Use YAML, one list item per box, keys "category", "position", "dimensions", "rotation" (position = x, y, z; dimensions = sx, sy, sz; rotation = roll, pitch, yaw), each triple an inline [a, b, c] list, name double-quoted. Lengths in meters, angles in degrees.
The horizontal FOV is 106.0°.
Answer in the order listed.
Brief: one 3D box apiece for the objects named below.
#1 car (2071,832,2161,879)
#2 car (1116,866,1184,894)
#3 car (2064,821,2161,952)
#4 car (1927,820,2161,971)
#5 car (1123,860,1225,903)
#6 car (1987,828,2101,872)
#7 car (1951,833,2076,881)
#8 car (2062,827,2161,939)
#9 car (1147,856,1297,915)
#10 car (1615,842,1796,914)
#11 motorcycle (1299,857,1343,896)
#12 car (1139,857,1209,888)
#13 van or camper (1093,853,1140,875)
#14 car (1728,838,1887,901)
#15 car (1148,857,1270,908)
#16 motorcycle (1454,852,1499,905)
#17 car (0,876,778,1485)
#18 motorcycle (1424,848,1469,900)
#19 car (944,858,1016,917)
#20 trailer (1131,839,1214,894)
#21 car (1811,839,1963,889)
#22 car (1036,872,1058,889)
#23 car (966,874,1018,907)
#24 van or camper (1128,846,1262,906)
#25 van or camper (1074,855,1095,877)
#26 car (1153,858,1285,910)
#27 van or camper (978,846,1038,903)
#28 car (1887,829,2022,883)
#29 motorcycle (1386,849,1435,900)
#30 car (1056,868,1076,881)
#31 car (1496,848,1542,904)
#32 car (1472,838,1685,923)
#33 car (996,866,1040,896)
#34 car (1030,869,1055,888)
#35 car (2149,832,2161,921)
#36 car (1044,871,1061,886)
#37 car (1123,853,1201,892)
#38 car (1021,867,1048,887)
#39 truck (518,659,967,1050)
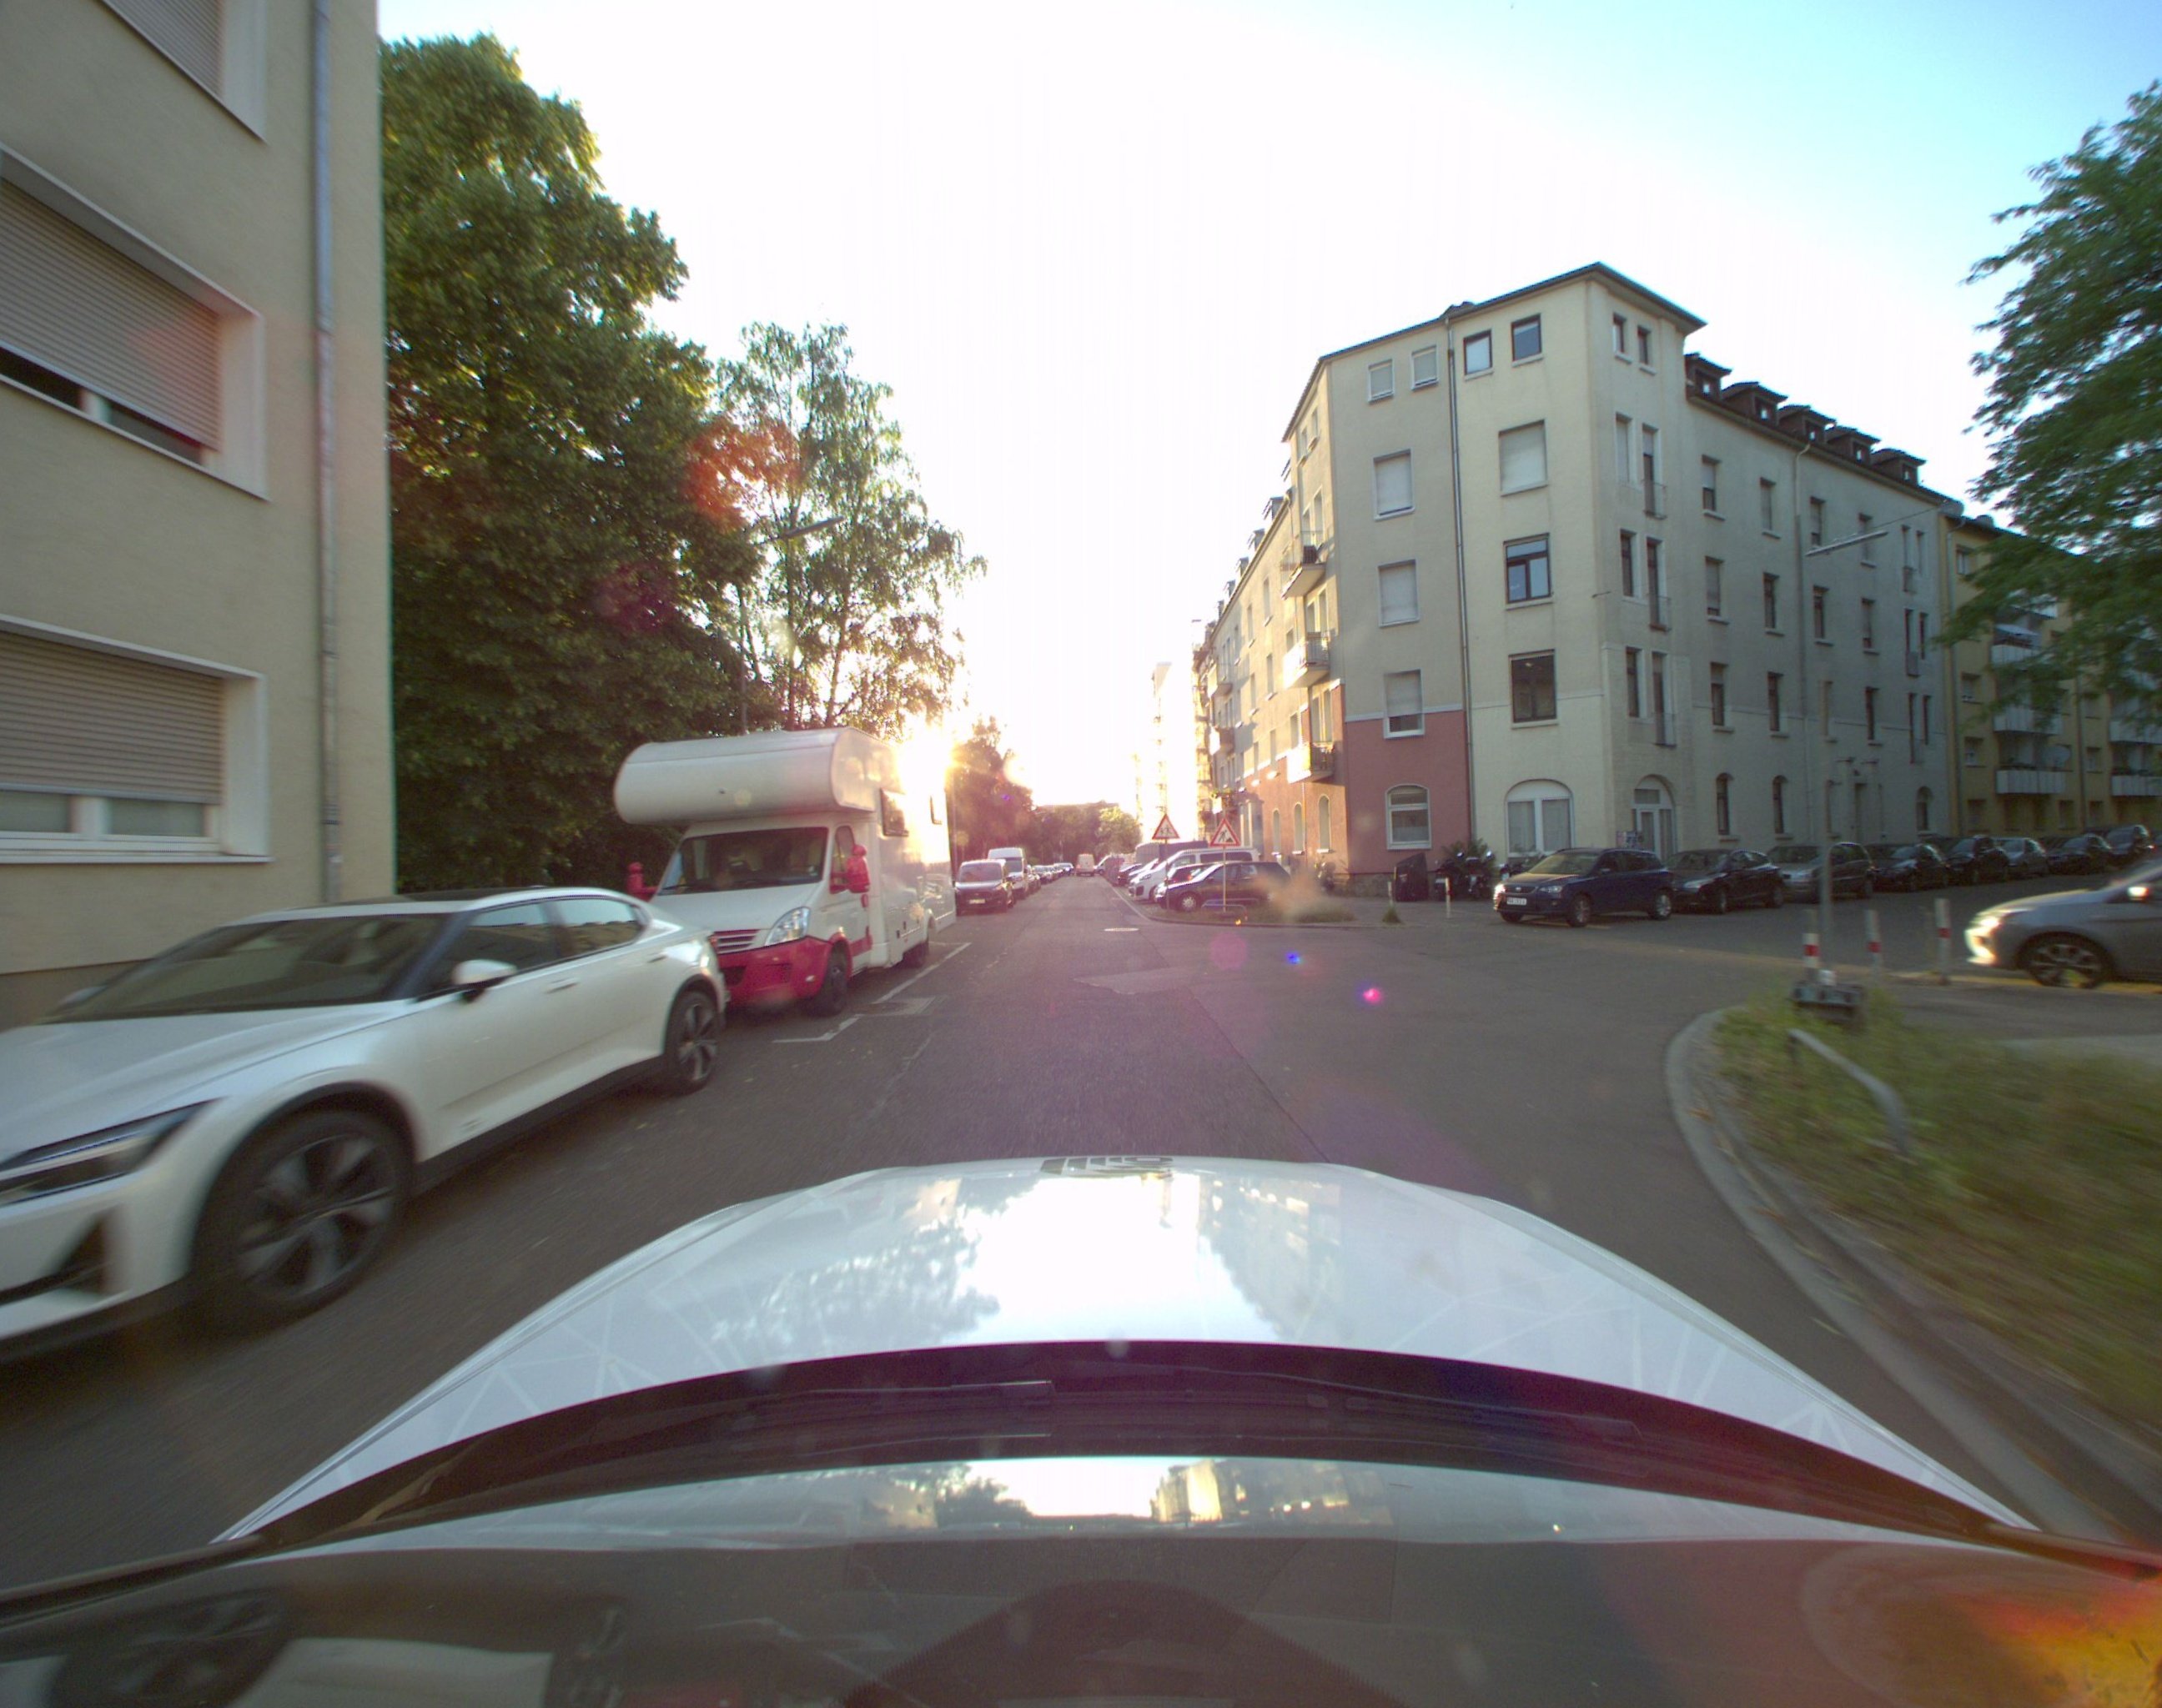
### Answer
- category: "car"
  position: [42.427, 0.062, 33.080]
  dimensions: [4.009, 1.783, 1.982]
  rotation: [-1, -2, -28]
- category: "car"
  position: [4.329, 1.605, 51.403]
  dimensions: [4.138, 1.616, 1.872]
  rotation: [-2, -1, 1]
- category: "car"
  position: [13.574, 0.310, 8.438]
  dimensions: [1.851, 1.486, 3.966]
  rotation: [-1, -1, -26]
- category: "car"
  position: [11.227, 0.364, 7.746]
  dimensions: [2.004, 1.420, 3.965]
  rotation: [-1, -1, -26]
- category: "car"
  position: [3.837, 1.149, 34.152]
  dimensions: [3.976, 1.640, 1.998]
  rotation: [-2, -2, -2]
- category: "car"
  position: [37.180, -0.159, 31.438]
  dimensions: [4.009, 1.585, 1.982]
  rotation: [-1, -2, -28]
- category: "car"
  position: [32.978, 0.102, 28.788]
  dimensions: [4.009, 1.585, 1.982]
  rotation: [-1, -2, -28]
- category: "car"
  position: [15.539, 0.331, 10.068]
  dimensions: [2.004, 1.464, 3.966]
  rotation: [-1, -1, -26]
- category: "car"
  position: [4.158, 0.929, 24.473]
  dimensions: [4.093, 1.585, 1.852]
  rotation: [-2, -1, -3]
- category: "car"
  position: [14.828, 0.534, 19.312]
  dimensions: [4.011, 1.505, 1.952]
  rotation: [-1, -1, -29]
- category: "motorcycle"
  position: [8.207, 0.759, 27.979]
  dimensions: [0.739, 1.235, 2.653]
  rotation: [-2, -1, 1]
- category: "car"
  position: [5.243, 1.067, 46.282]
  dimensions: [3.683, 1.610, 1.743]
  rotation: [-2, -1, -3]
- category: "van or camper"
  position: [4.602, 1.313, 105.877]
  dimensions: [5.911, 2.770, 2.108]
  rotation: [-1, -2, -1]
- category: "car"
  position: [19.148, 0.378, 21.438]
  dimensions: [4.012, 1.505, 1.953]
  rotation: [-1, -1, -31]
- category: "car"
  position: [4.507, 1.009, 29.129]
  dimensions: [3.976, 1.618, 1.998]
  rotation: [-2, -1, -2]
- category: "motorcycle"
  position: [11.347, 0.661, 23.290]
  dimensions: [0.735, 1.434, 2.670]
  rotation: [-3, -1, 34]
- category: "car"
  position: [-3.637, 0.961, 4.531]
  dimensions: [1.900, 1.476, 4.909]
  rotation: [-4, -1, 1]
- category: "motorcycle"
  position: [10.686, 0.556, 23.784]
  dimensions: [0.735, 1.434, 2.368]
  rotation: [-3, -1, 34]
- category: "car"
  position: [-3.414, 1.105, 28.526]
  dimensions: [1.904, 1.788, 4.947]
  rotation: [-3, -1, -1]
- category: "trailer"
  position: [4.316, 0.604, 38.876]
  dimensions: [3.559, 2.337, 1.938]
  rotation: [-4, -1, -3]
- category: "car"
  position: [24.110, 0.292, 24.364]
  dimensions: [4.009, 1.354, 2.076]
  rotation: [-1, -2, -28]
- category: "car"
  position: [-3.198, 2.483, 77.400]
  dimensions: [1.854, 1.538, 4.757]
  rotation: [-3, -1, 0]
- category: "car"
  position: [-3.617, 1.450, 33.496]
  dimensions: [1.990, 1.189, 4.029]
  rotation: [-1, -1, -5]
- category: "van or camper"
  position: [4.335, 0.832, 31.429]
  dimensions: [4.820, 2.096, 2.039]
  rotation: [-2, -1, -1]
- category: "van or camper"
  position: [0.457, 1.498, 99.703]
  dimensions: [2.445, 2.547, 6.082]
  rotation: [0, -1, 0]
- category: "car"
  position: [4.495, 0.965, 27.000]
  dimensions: [3.976, 1.530, 1.998]
  rotation: [-2, -1, -2]
- category: "van or camper"
  position: [-3.421, 0.966, 39.293]
  dimensions: [1.986, 2.457, 6.086]
  rotation: [-2, -1, 2]
- category: "car"
  position: [28.563, 0.065, 26.630]
  dimensions: [4.009, 1.651, 1.982]
  rotation: [-1, -2, -28]
- category: "motorcycle"
  position: [9.788, 0.590, 24.147]
  dimensions: [0.828, 1.434, 2.368]
  rotation: [-3, -1, 34]
- category: "car"
  position: [-1.903, 2.642, 104.808]
  dimensions: [1.794, 1.569, 4.574]
  rotation: [-2, -1, 8]
- category: "car"
  position: [12.194, 0.590, 22.603]
  dimensions: [0.835, 1.456, 2.795]
  rotation: [-3, -1, 33]
- category: "car"
  position: [10.474, 0.516, 17.149]
  dimensions: [4.004, 1.573, 1.816]
  rotation: [-1, -1, -23]
- category: "car"
  position: [-3.437, 1.478, 45.567]
  dimensions: [1.987, 1.519, 4.789]
  rotation: [-1, -1, 1]
- category: "car"
  position: [-3.243, 2.044, 68.947]
  dimensions: [1.777, 1.445, 4.746]
  rotation: [-4, -1, 0]
- category: "car"
  position: [20.061, 0.308, 12.614]
  dimensions: [2.005, 1.516, 3.964]
  rotation: [-1, -1, -28]
- category: "car"
  position: [-3.072, 2.619, 88.445]
  dimensions: [1.596, 1.431, 3.801]
  rotation: [-4, -1, -1]
- category: "car"
  position: [4.813, 1.107, 48.714]
  dimensions: [4.263, 1.980, 1.817]
  rotation: [-4, 0, -8]
- category: "car"
  position: [-3.583, 1.794, 63.090]
  dimensions: [1.989, 1.453, 3.995]
  rotation: [-1, -1, -3]
- category: "truck"
  position: [-3.636, 0.061, 11.377]
  dimensions: [2.516, 3.353, 8.019]
  rotation: [-4, -1, 1]
